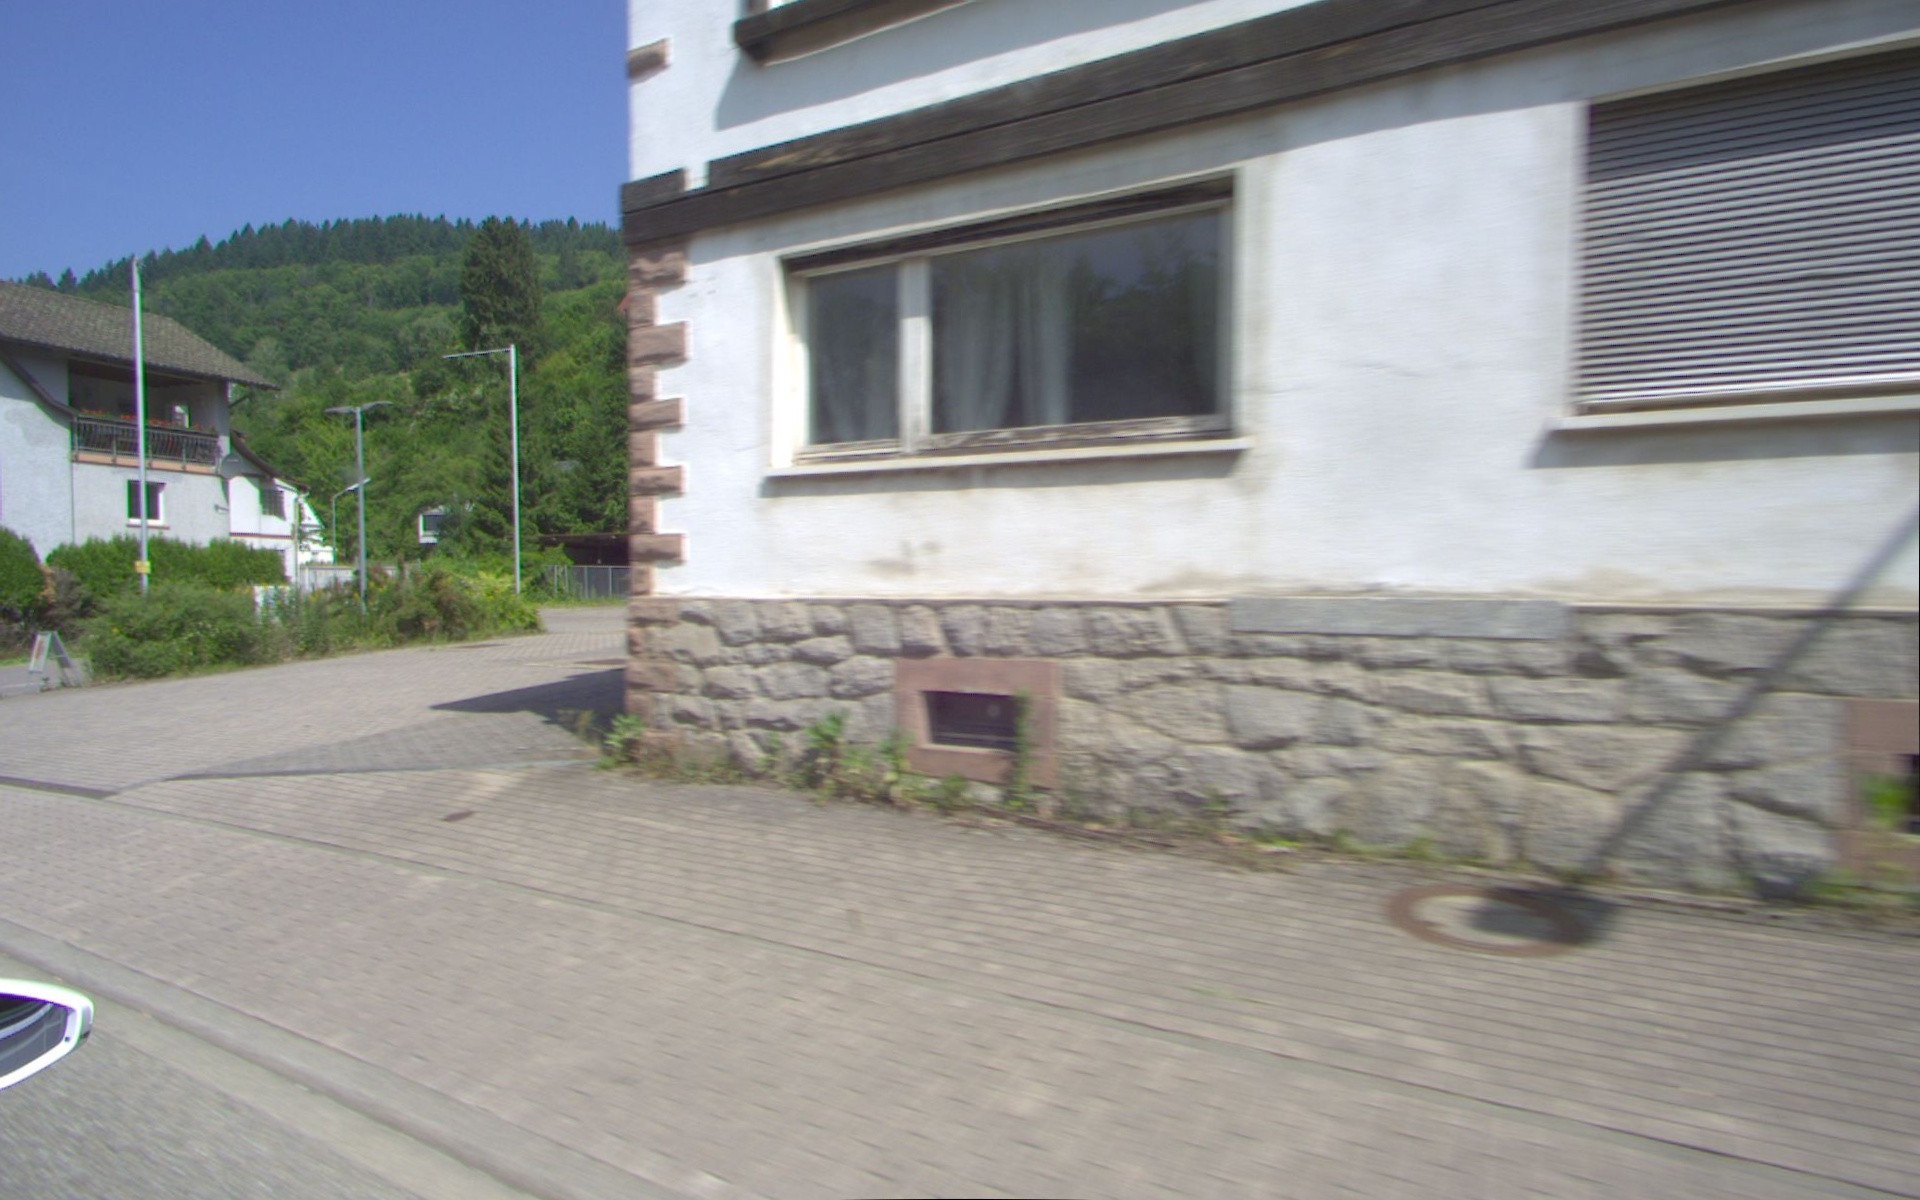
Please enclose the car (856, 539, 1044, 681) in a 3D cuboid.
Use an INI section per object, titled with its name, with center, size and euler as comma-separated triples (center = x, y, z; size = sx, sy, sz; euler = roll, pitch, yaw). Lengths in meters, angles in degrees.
[car]
center = -0.025, 0.076, 17.459
size = 1.610, 2.012, 4.001
euler = -3, 4, 25
